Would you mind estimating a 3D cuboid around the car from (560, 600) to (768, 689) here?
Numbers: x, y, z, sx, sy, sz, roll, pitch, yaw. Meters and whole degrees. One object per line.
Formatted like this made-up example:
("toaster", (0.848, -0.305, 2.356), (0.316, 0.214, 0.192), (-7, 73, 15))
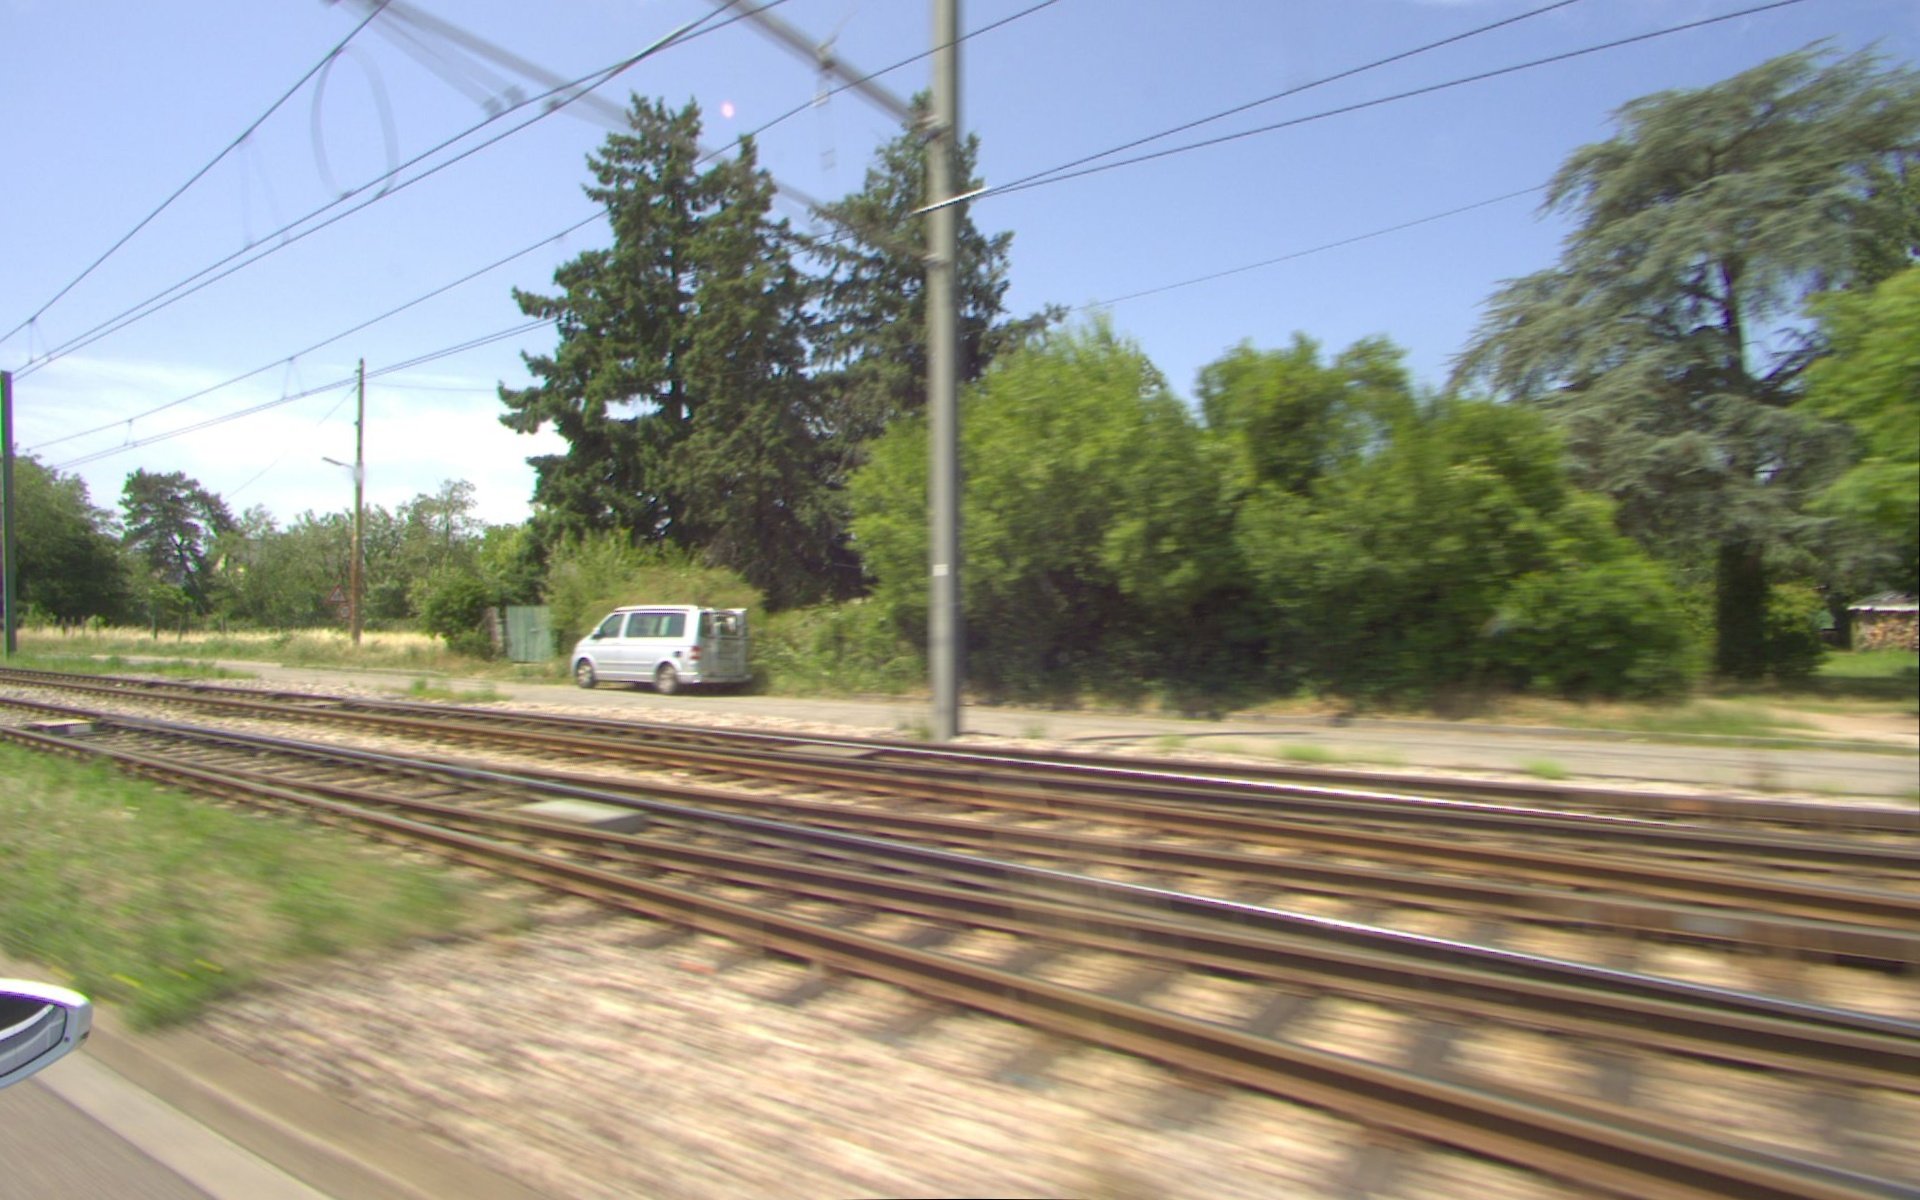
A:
("car", (-7.049, 1.023, 23.606), (5.001, 1.906, 2.030), (-2, -1, 35))
